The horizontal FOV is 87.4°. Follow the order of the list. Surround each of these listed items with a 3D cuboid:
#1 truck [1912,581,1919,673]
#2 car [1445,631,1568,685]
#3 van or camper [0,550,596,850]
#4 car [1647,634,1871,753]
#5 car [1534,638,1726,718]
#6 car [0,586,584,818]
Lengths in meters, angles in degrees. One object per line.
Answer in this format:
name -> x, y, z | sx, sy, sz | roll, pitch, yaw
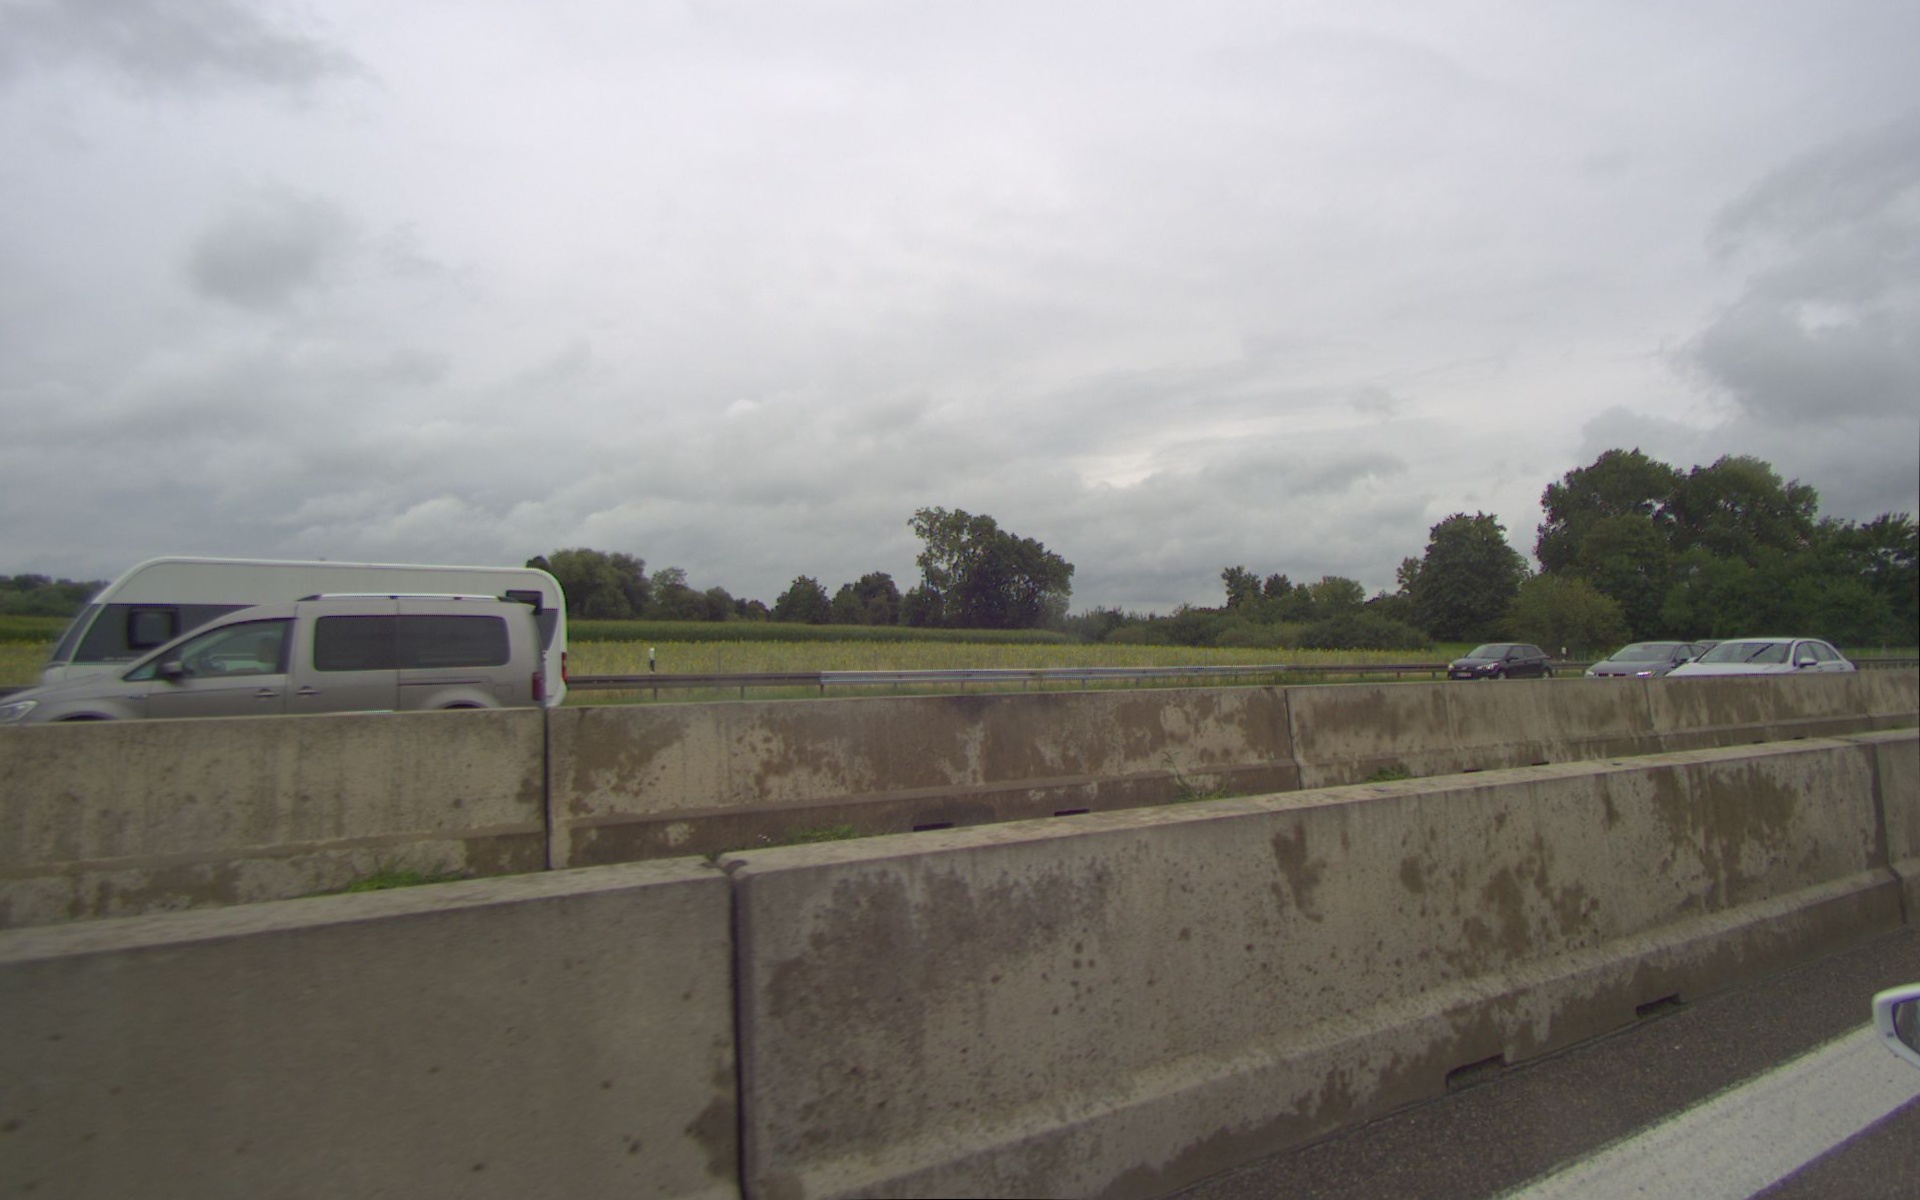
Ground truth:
truck -> 48.029, 1.351, 47.334 | 6.162, 4.298, 2.942 | 2, 0, -30
car -> 18.170, 1.911, 33.372 | 3.955, 1.617, 1.874 | 2, 0, -32
van or camper -> -9.588, 1.258, 14.614 | 7.616, 3.550, 2.693 | 2, 0, -32
car -> 14.703, 1.611, 18.447 | 4.124, 1.950, 1.874 | 1, -2, -30
car -> 16.343, 1.819, 24.445 | 4.744, 1.733, 2.051 | 1, -1, -30
car -> -6.769, 0.926, 10.314 | 5.216, 1.950, 1.874 | 1, -2, -31
